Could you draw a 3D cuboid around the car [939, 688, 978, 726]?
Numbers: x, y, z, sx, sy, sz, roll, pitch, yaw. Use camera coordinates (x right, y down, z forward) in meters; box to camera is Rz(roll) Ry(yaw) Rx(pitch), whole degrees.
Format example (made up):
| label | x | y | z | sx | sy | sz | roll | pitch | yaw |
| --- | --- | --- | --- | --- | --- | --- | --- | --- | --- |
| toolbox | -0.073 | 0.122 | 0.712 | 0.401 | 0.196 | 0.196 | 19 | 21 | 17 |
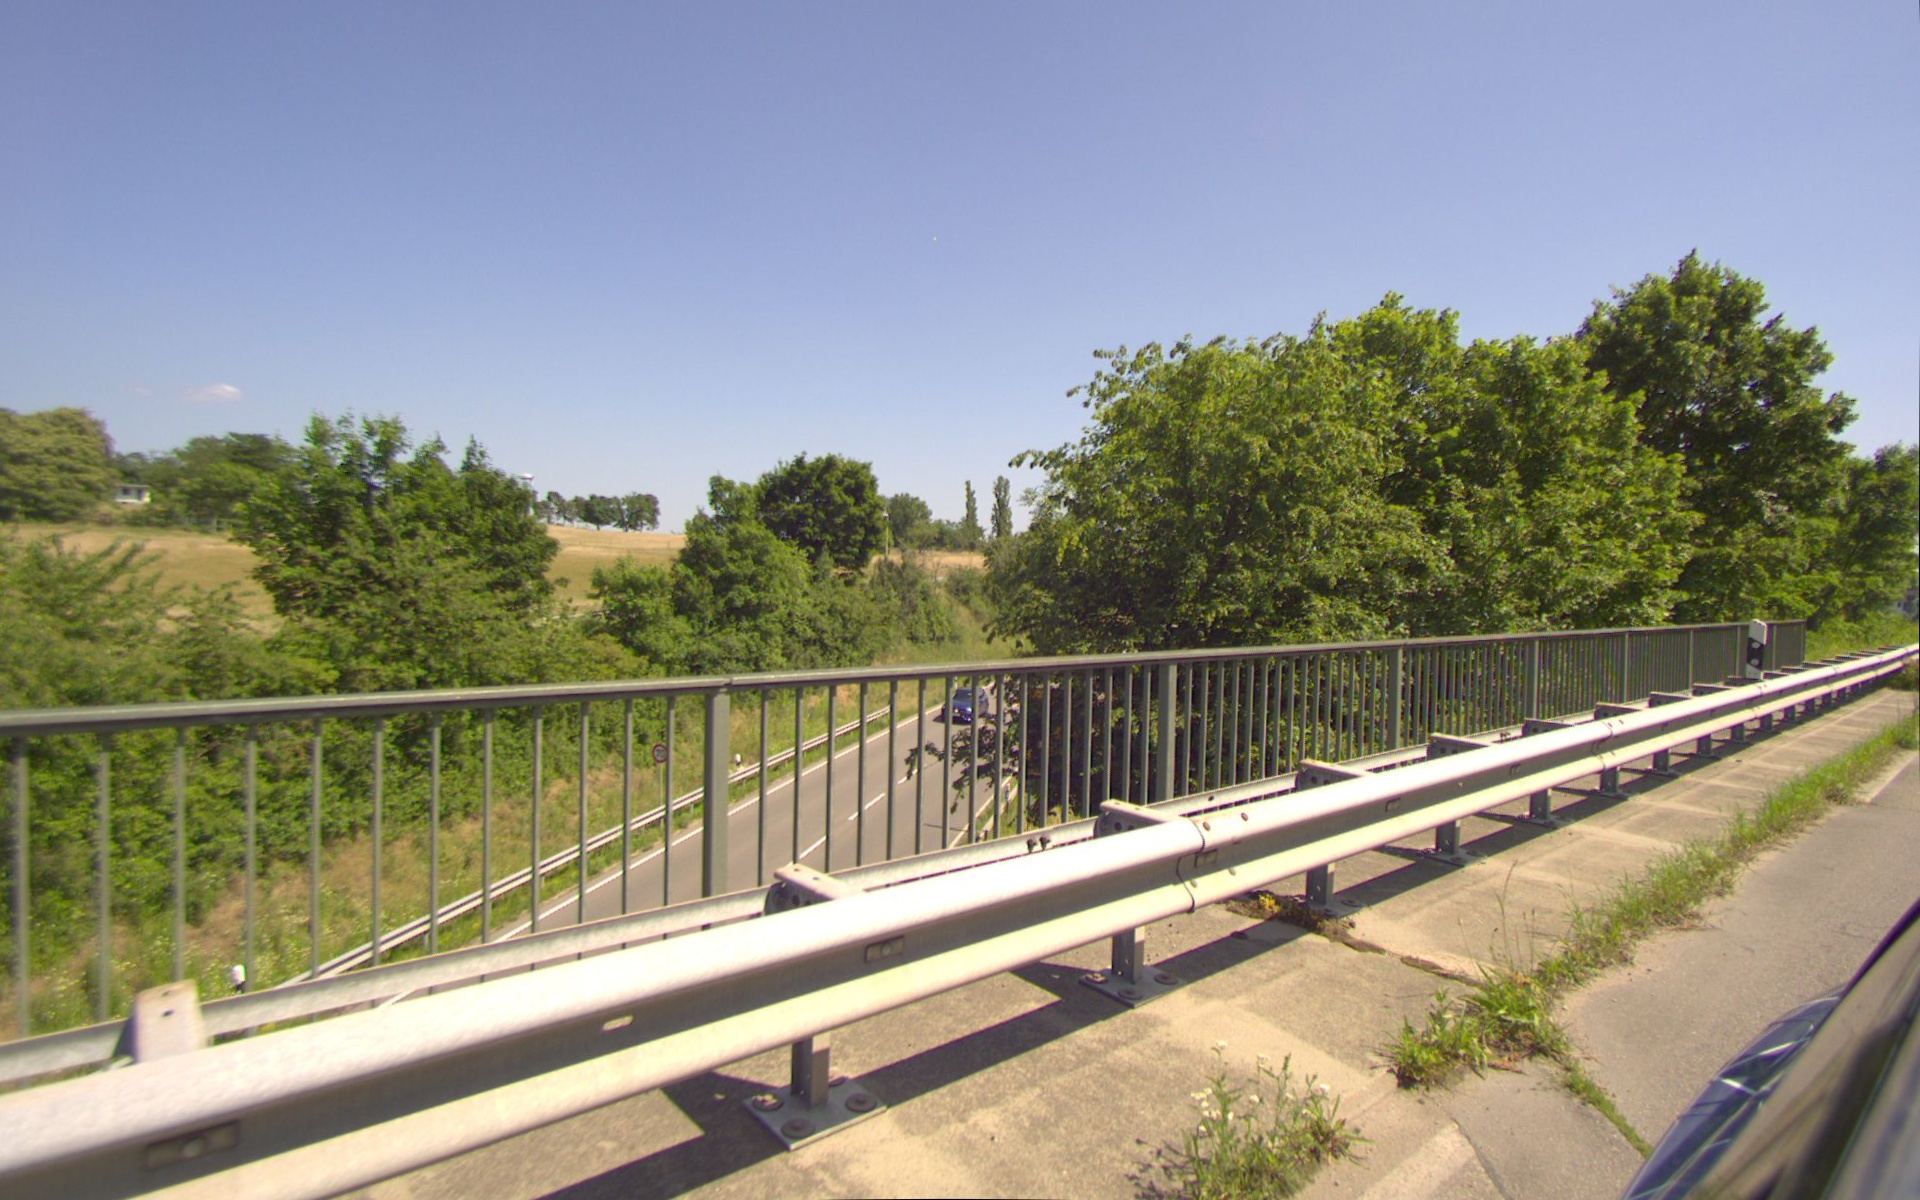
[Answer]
| label | x | y | z | sx | sy | sz | roll | pitch | yaw |
| --- | --- | --- | --- | --- | --- | --- | --- | --- | --- |
| car | -0.055 | 5.806 | 55.230 | 1.467 | 1.596 | 3.598 | 3 | 1 | 10 |
